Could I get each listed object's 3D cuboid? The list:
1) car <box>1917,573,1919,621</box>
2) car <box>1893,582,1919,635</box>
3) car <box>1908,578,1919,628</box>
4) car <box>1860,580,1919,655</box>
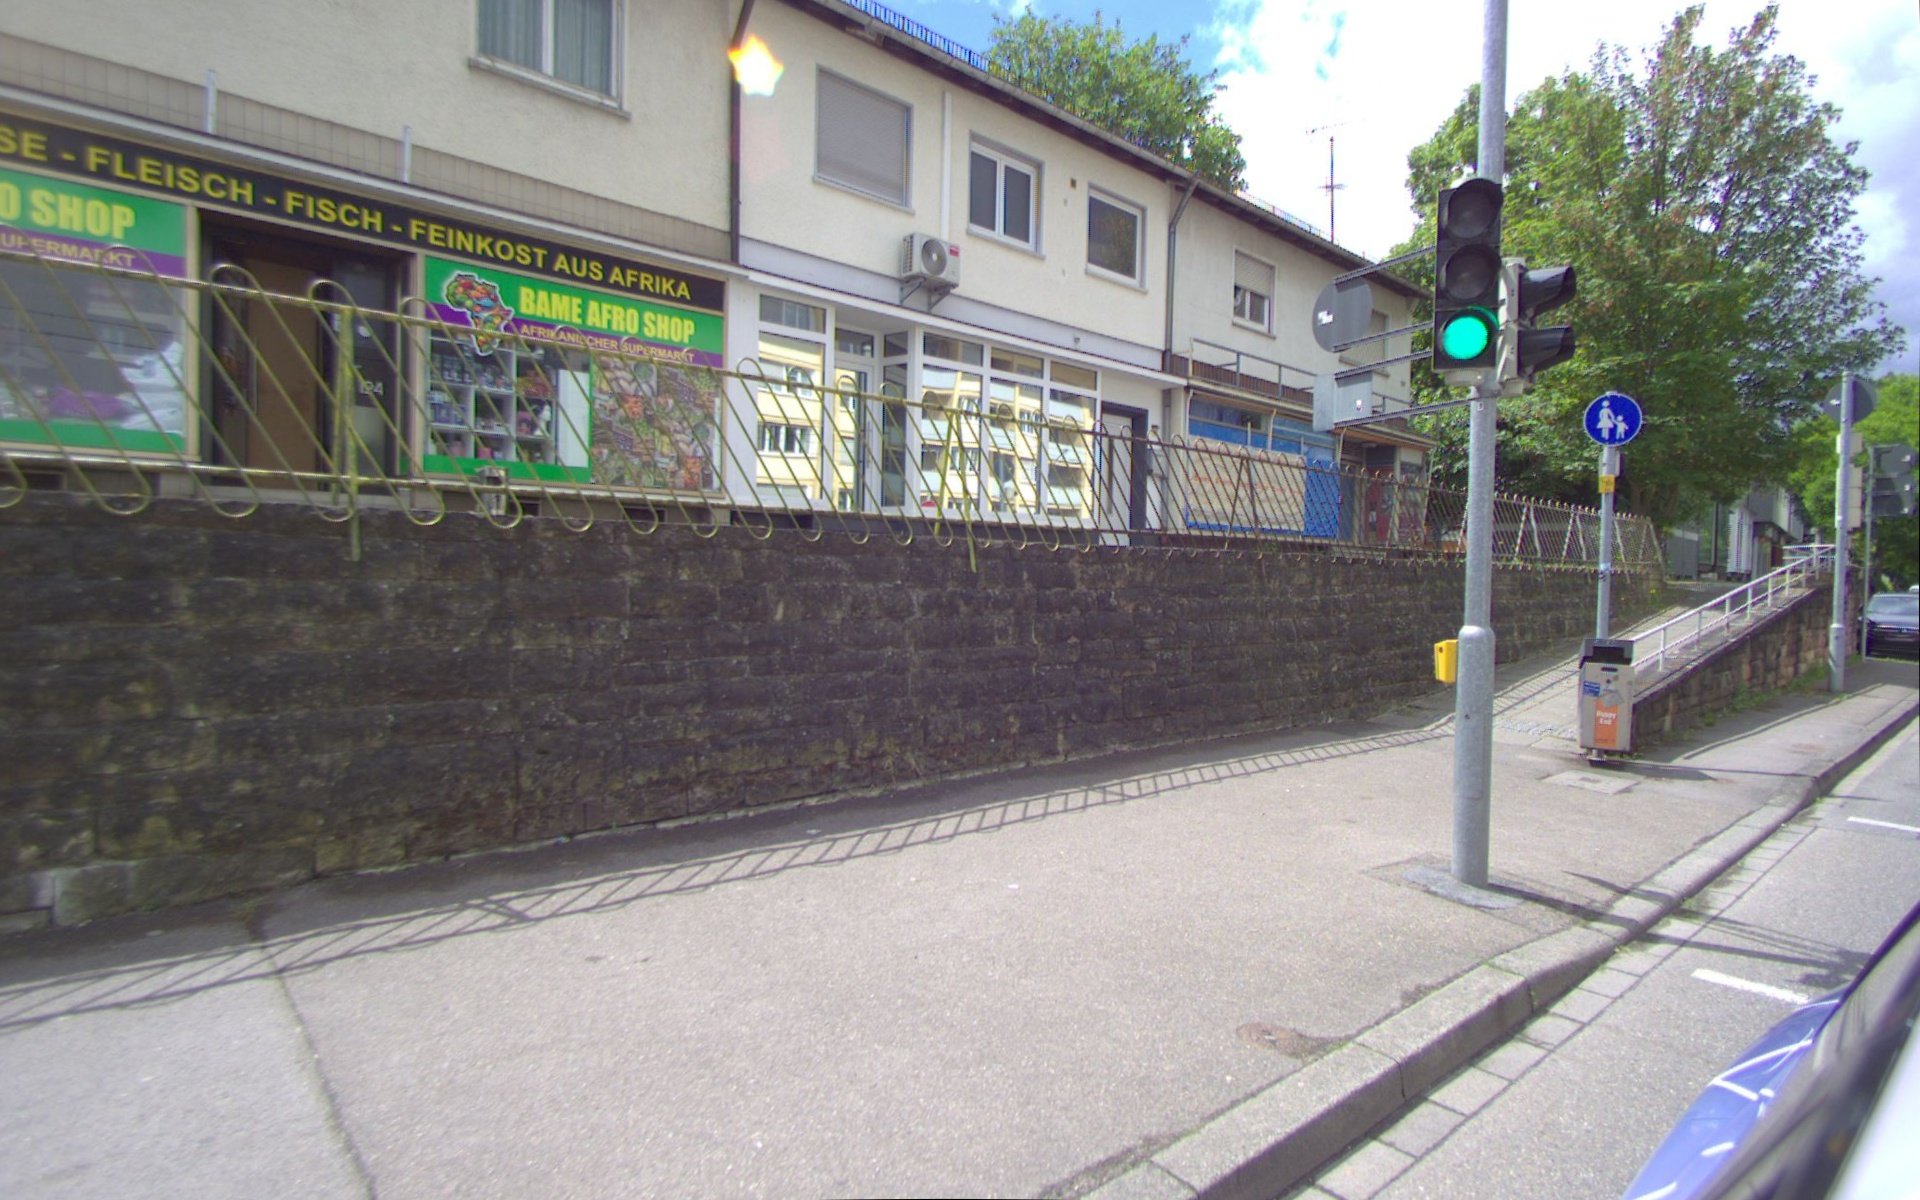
[{"bbox_3d":[43.404,-0.112,44.418,4.889,2.033,1.851,-1,3,-45],"label":"car"},{"bbox_3d":[30.781,0.280,31.919,4.107,1.587,1.757,0,3,-45],"label":"car"},{"bbox_3d":[35.320,0.100,36.297,3.935,1.737,1.756,-1,3,-45],"label":"car"},{"bbox_3d":[22.240,0.376,23.483,3.957,1.599,1.756,-1,3,-45],"label":"car"}]
